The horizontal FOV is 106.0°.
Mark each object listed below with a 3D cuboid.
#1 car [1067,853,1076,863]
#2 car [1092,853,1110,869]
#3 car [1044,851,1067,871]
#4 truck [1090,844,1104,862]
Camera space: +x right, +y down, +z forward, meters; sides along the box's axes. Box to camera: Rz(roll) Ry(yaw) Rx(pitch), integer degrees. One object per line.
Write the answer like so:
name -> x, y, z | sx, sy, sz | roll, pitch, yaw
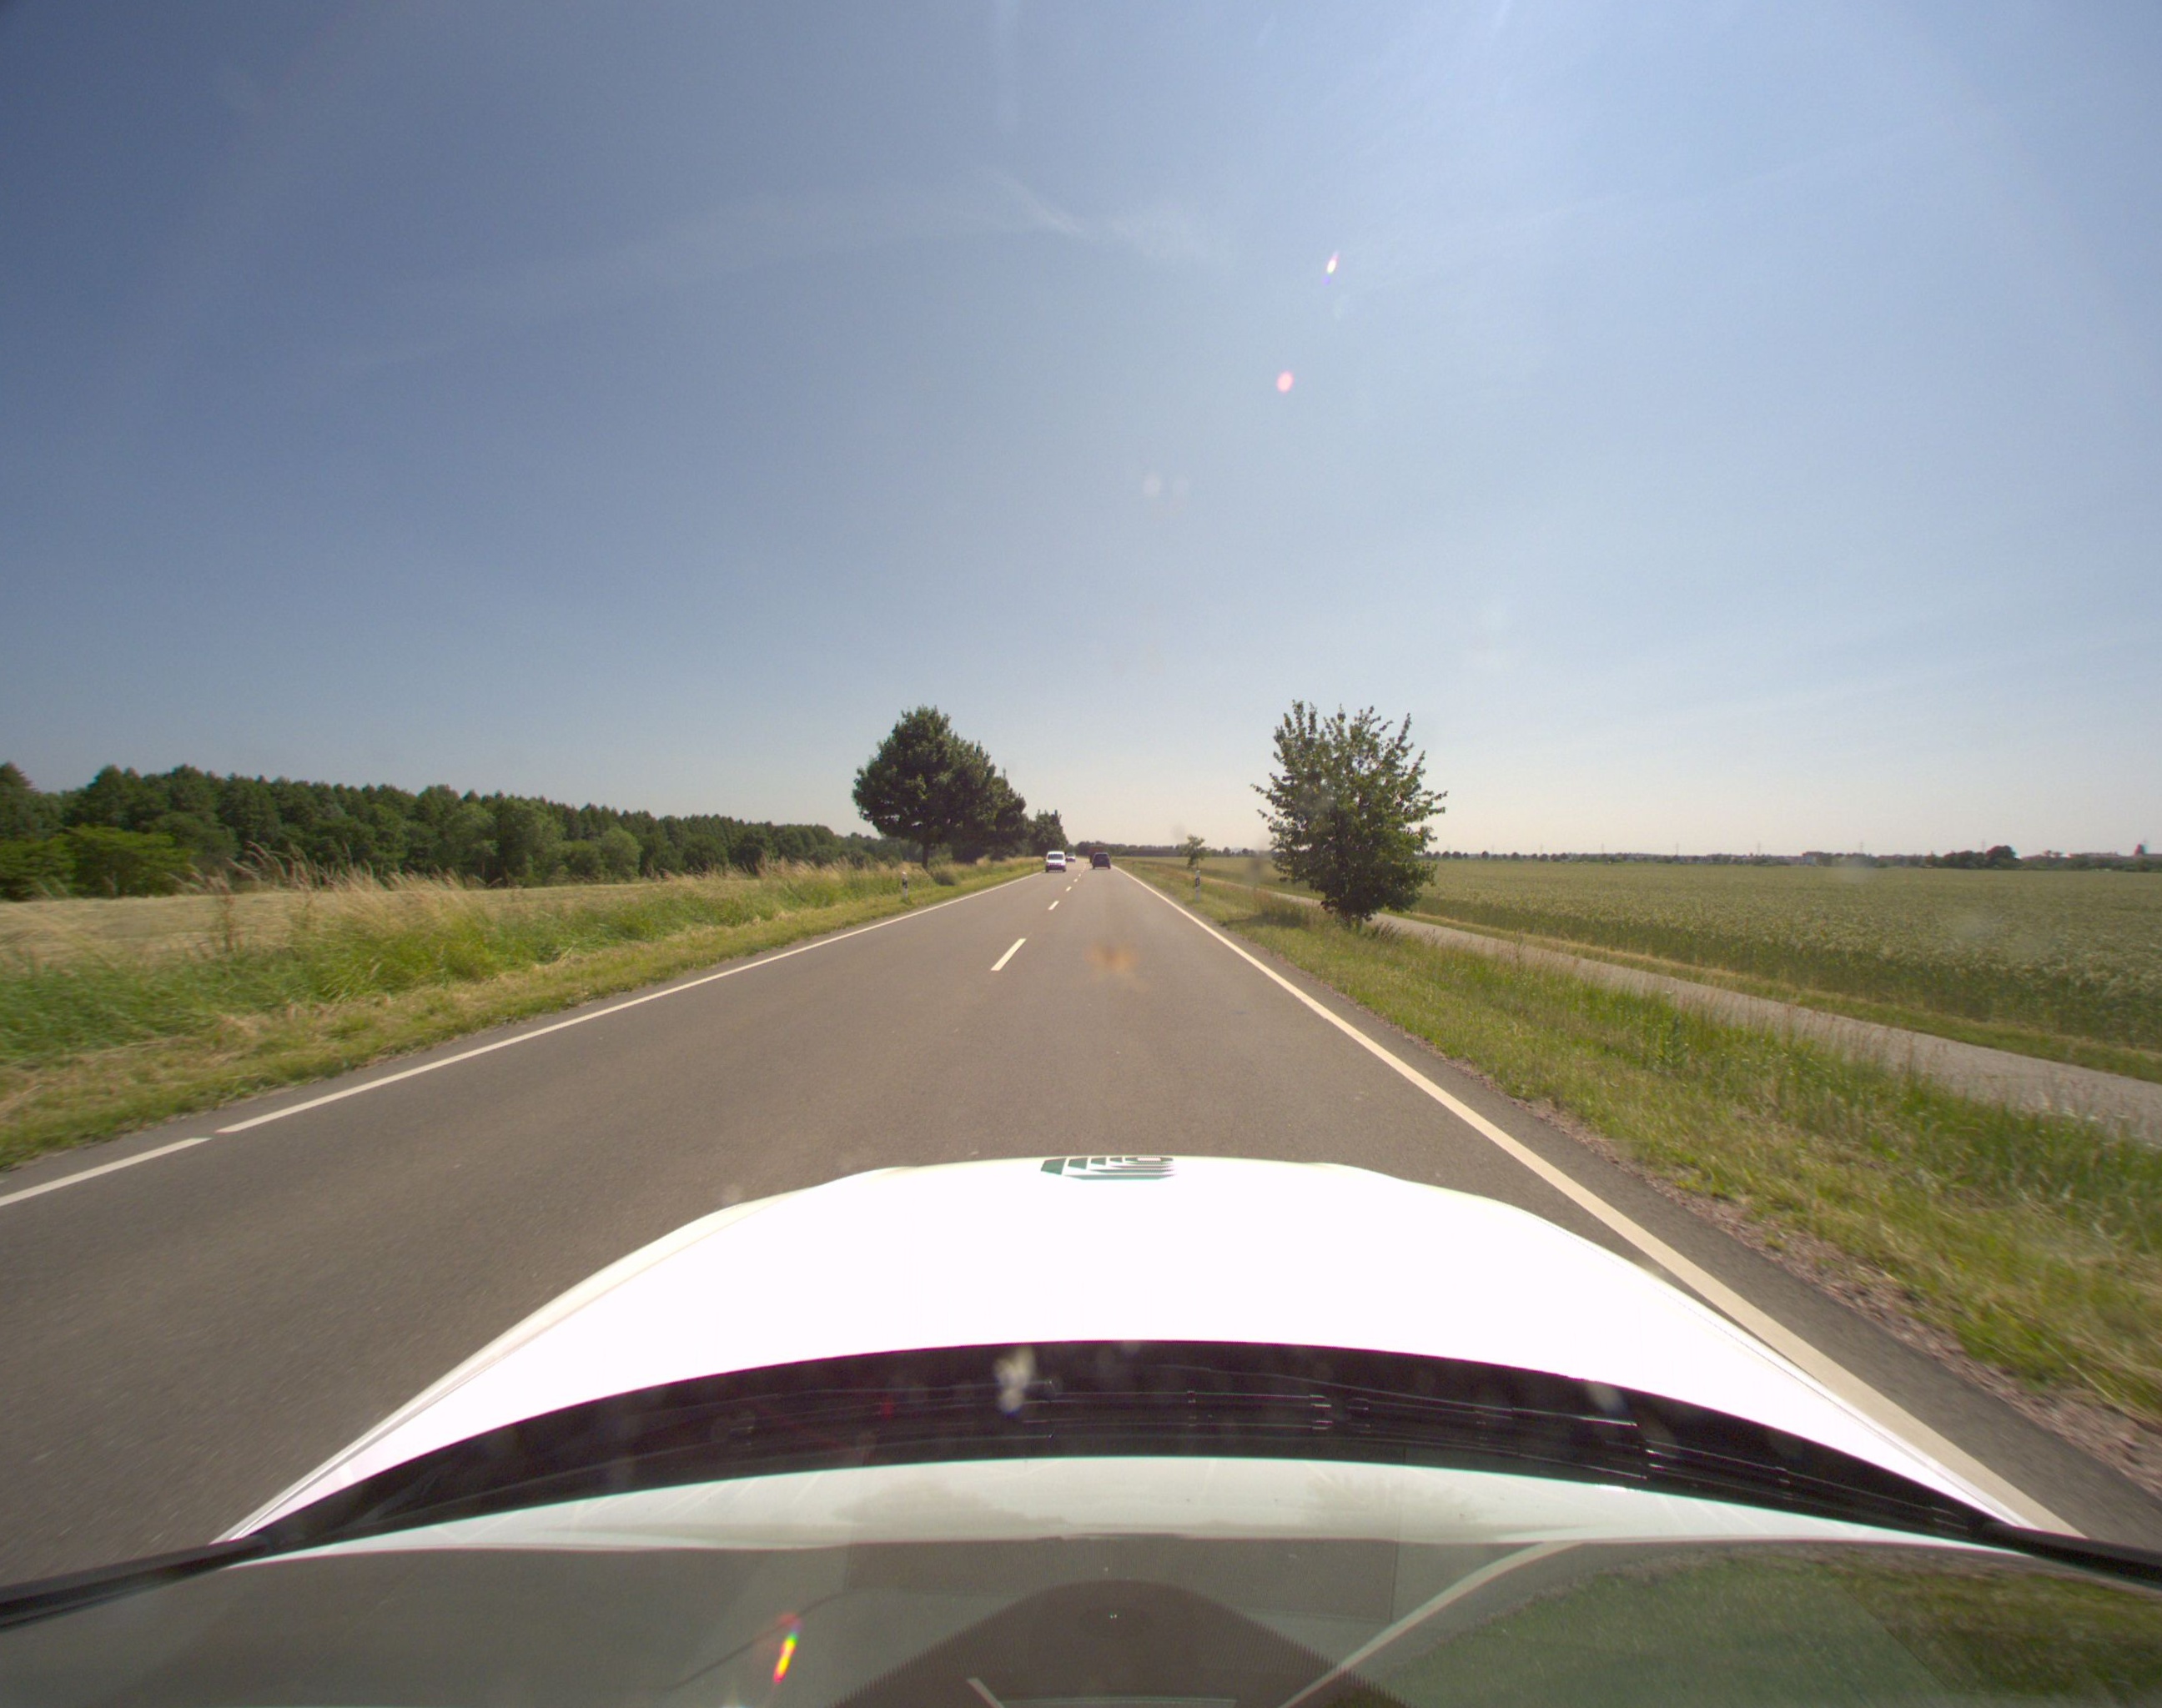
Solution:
car -> -1.804, 0.728, 158.009 | 1.720, 1.840, 3.999 | 0, 0, 0
car -> 2.097, 0.721, 84.925 | 1.708, 1.694, 3.991 | 0, 0, 3
car -> -2.226, 0.642, 72.040 | 1.780, 1.728, 4.306 | 0, 0, 2
truck -> 2.804, -0.160, 144.777 | 2.363, 3.140, 8.745 | 0, 0, 0
